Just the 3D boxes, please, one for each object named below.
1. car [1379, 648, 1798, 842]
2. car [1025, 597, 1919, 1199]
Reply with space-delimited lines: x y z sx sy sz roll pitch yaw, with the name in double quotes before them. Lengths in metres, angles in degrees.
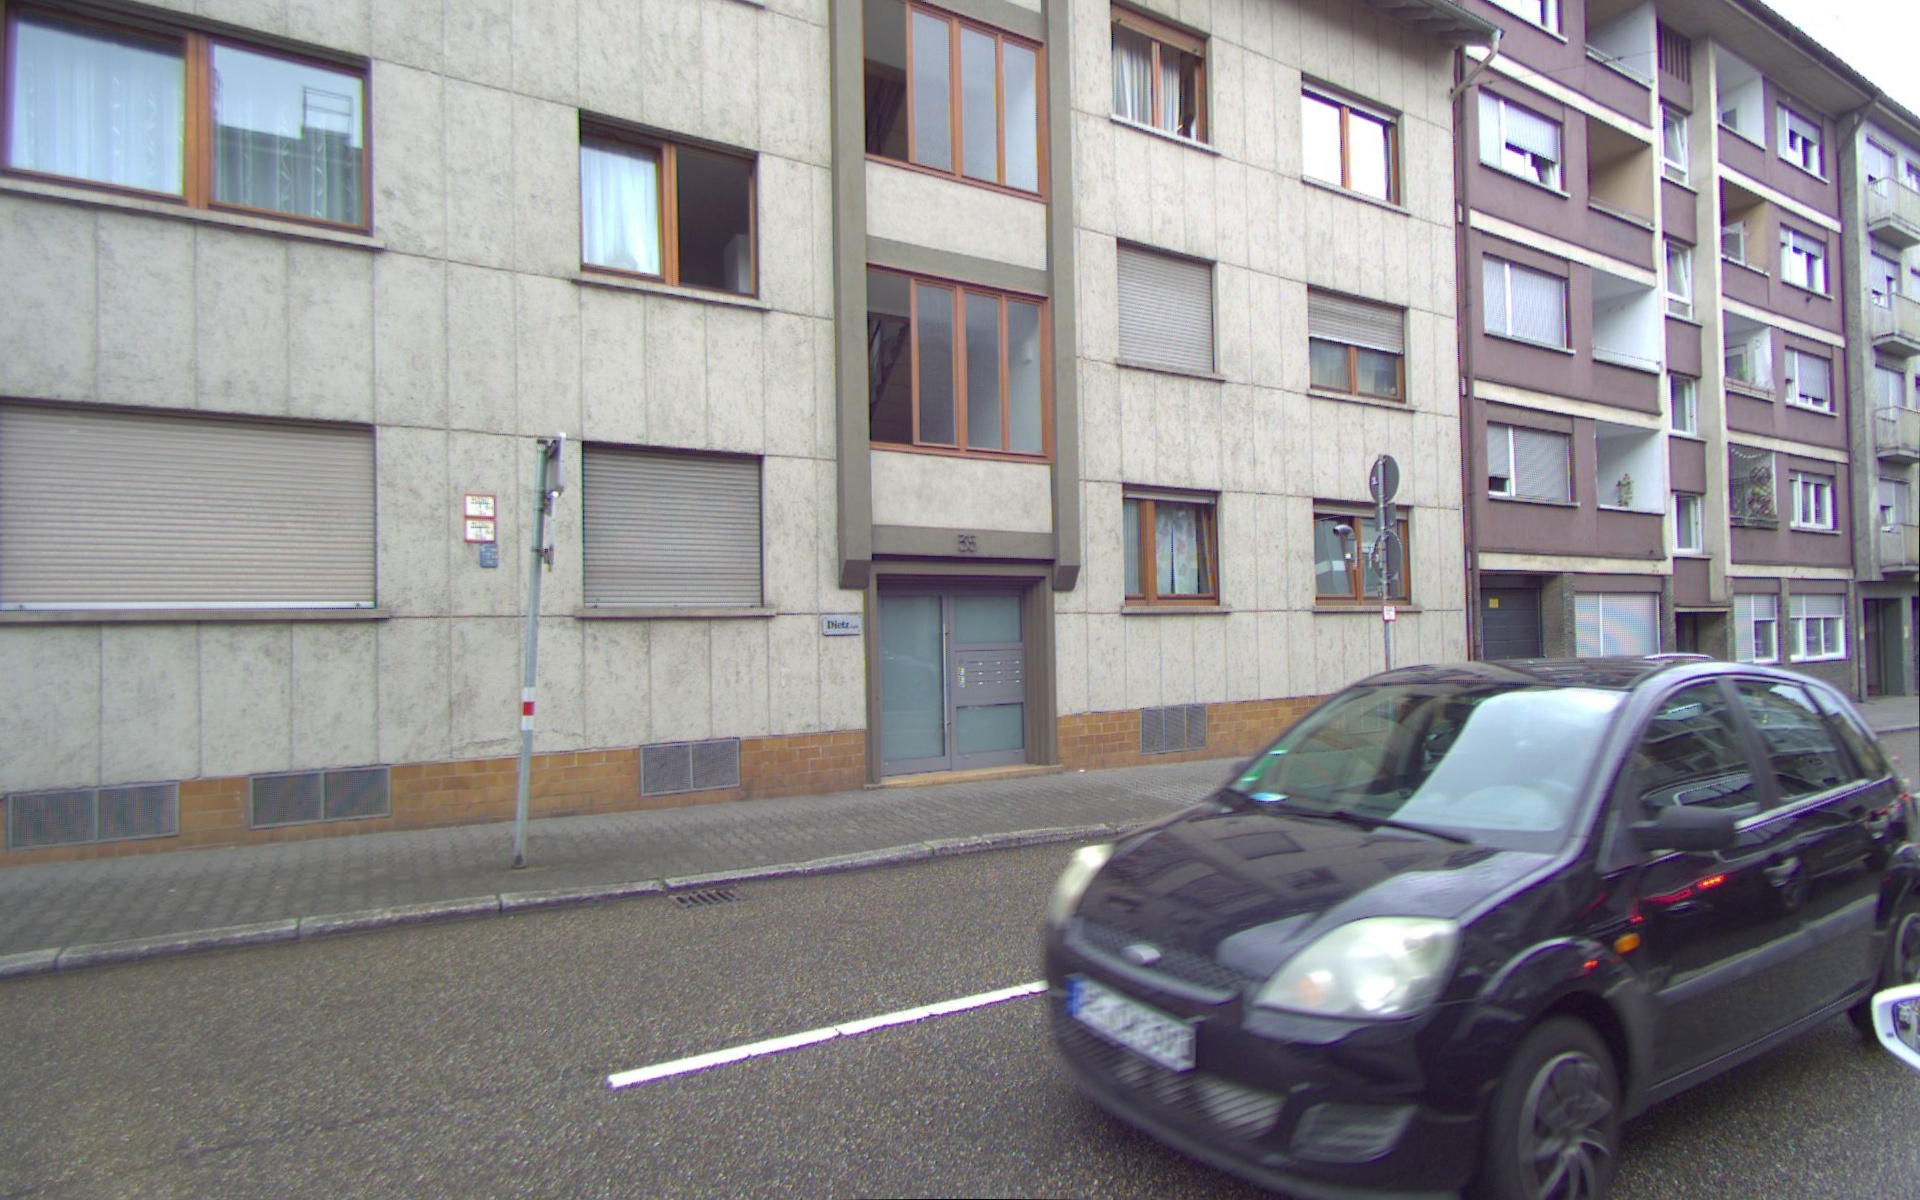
"car" 6.236 1.259 9.844 4.325 1.492 1.714 1 -4 -32
"car" 2.410 0.885 3.945 4.172 1.559 1.610 2 -4 -33
